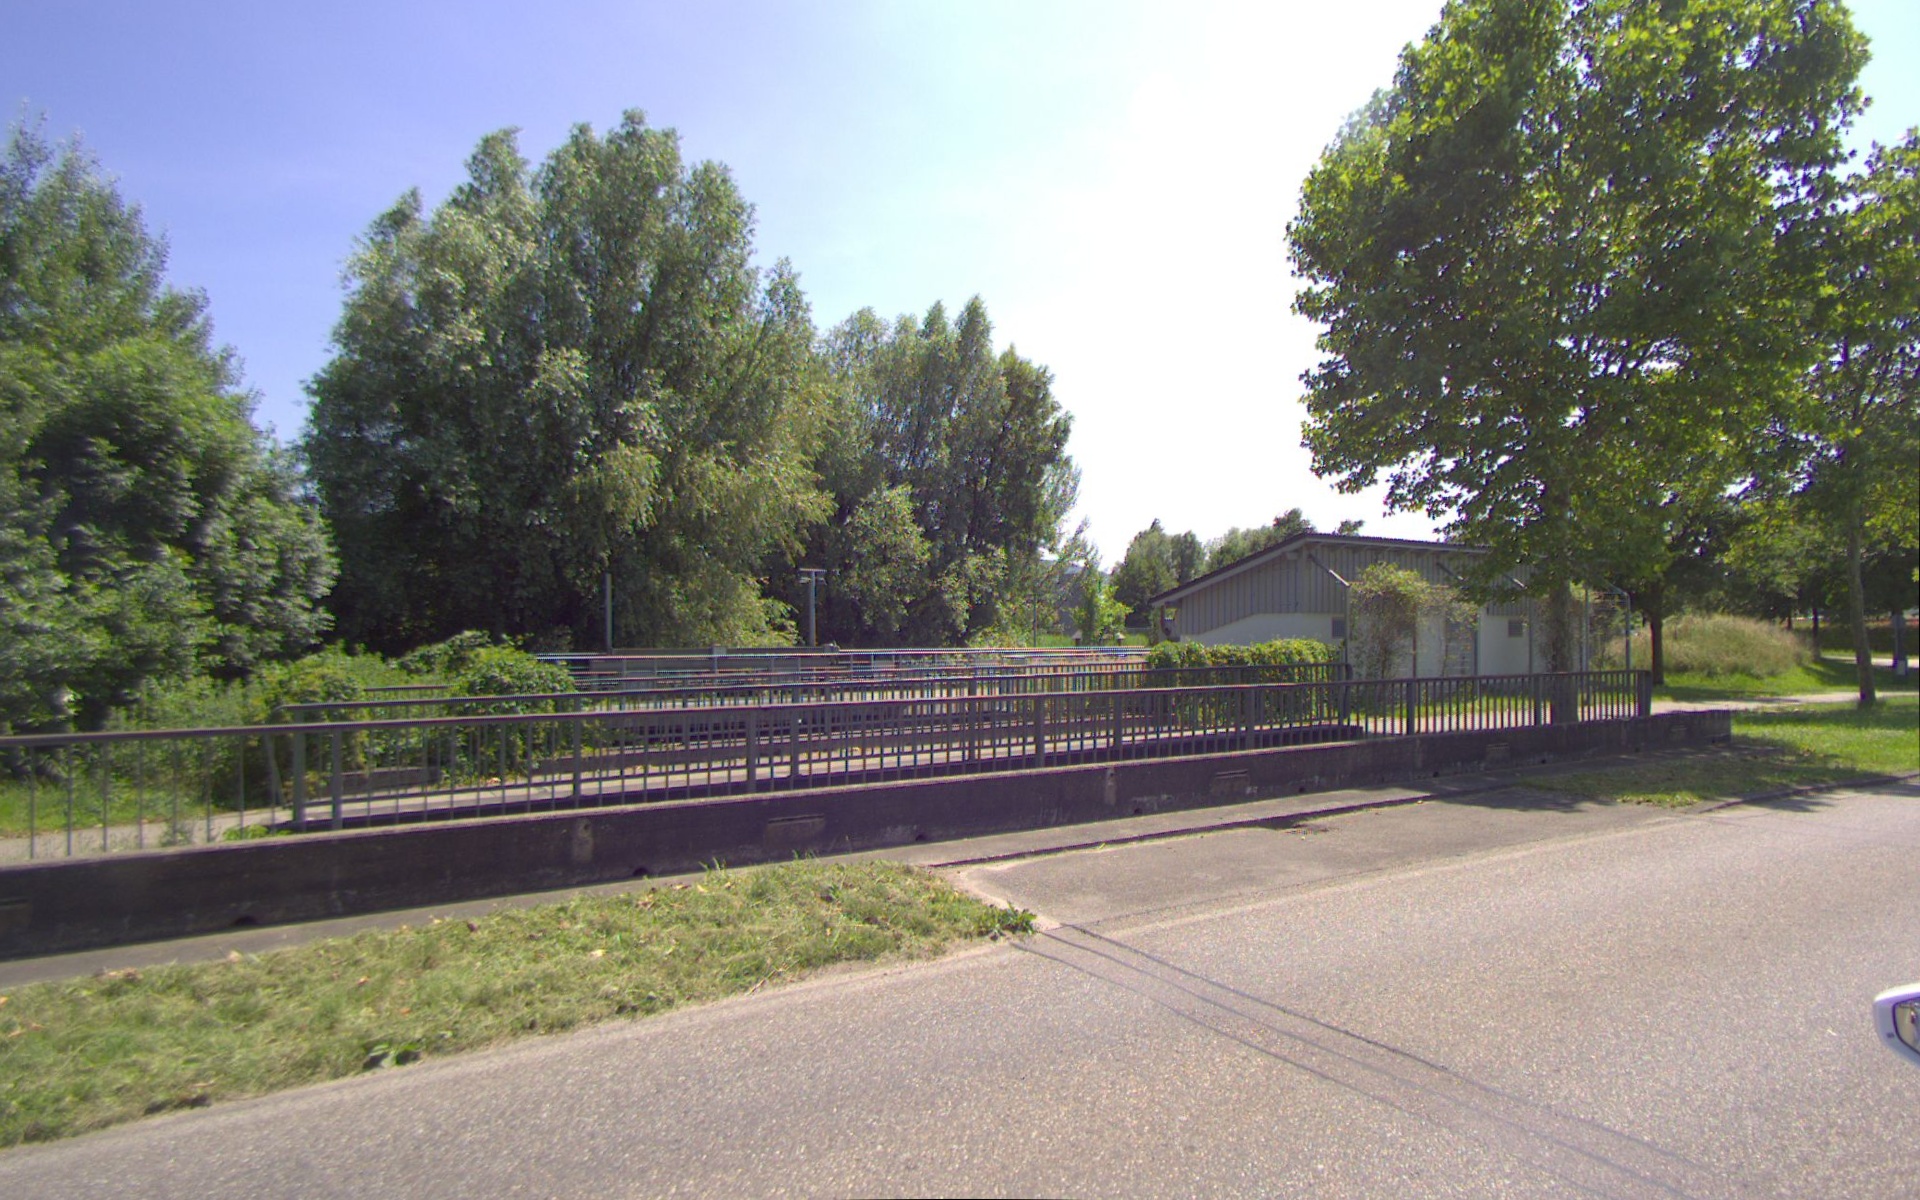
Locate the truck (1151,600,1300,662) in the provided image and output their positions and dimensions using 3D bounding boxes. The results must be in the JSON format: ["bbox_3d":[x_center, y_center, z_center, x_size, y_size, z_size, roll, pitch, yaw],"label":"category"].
[{"bbox_3d":[10.436,1.183,39.441,5.112,2.246,2.972,1,-1,-31],"label":"truck"}]
